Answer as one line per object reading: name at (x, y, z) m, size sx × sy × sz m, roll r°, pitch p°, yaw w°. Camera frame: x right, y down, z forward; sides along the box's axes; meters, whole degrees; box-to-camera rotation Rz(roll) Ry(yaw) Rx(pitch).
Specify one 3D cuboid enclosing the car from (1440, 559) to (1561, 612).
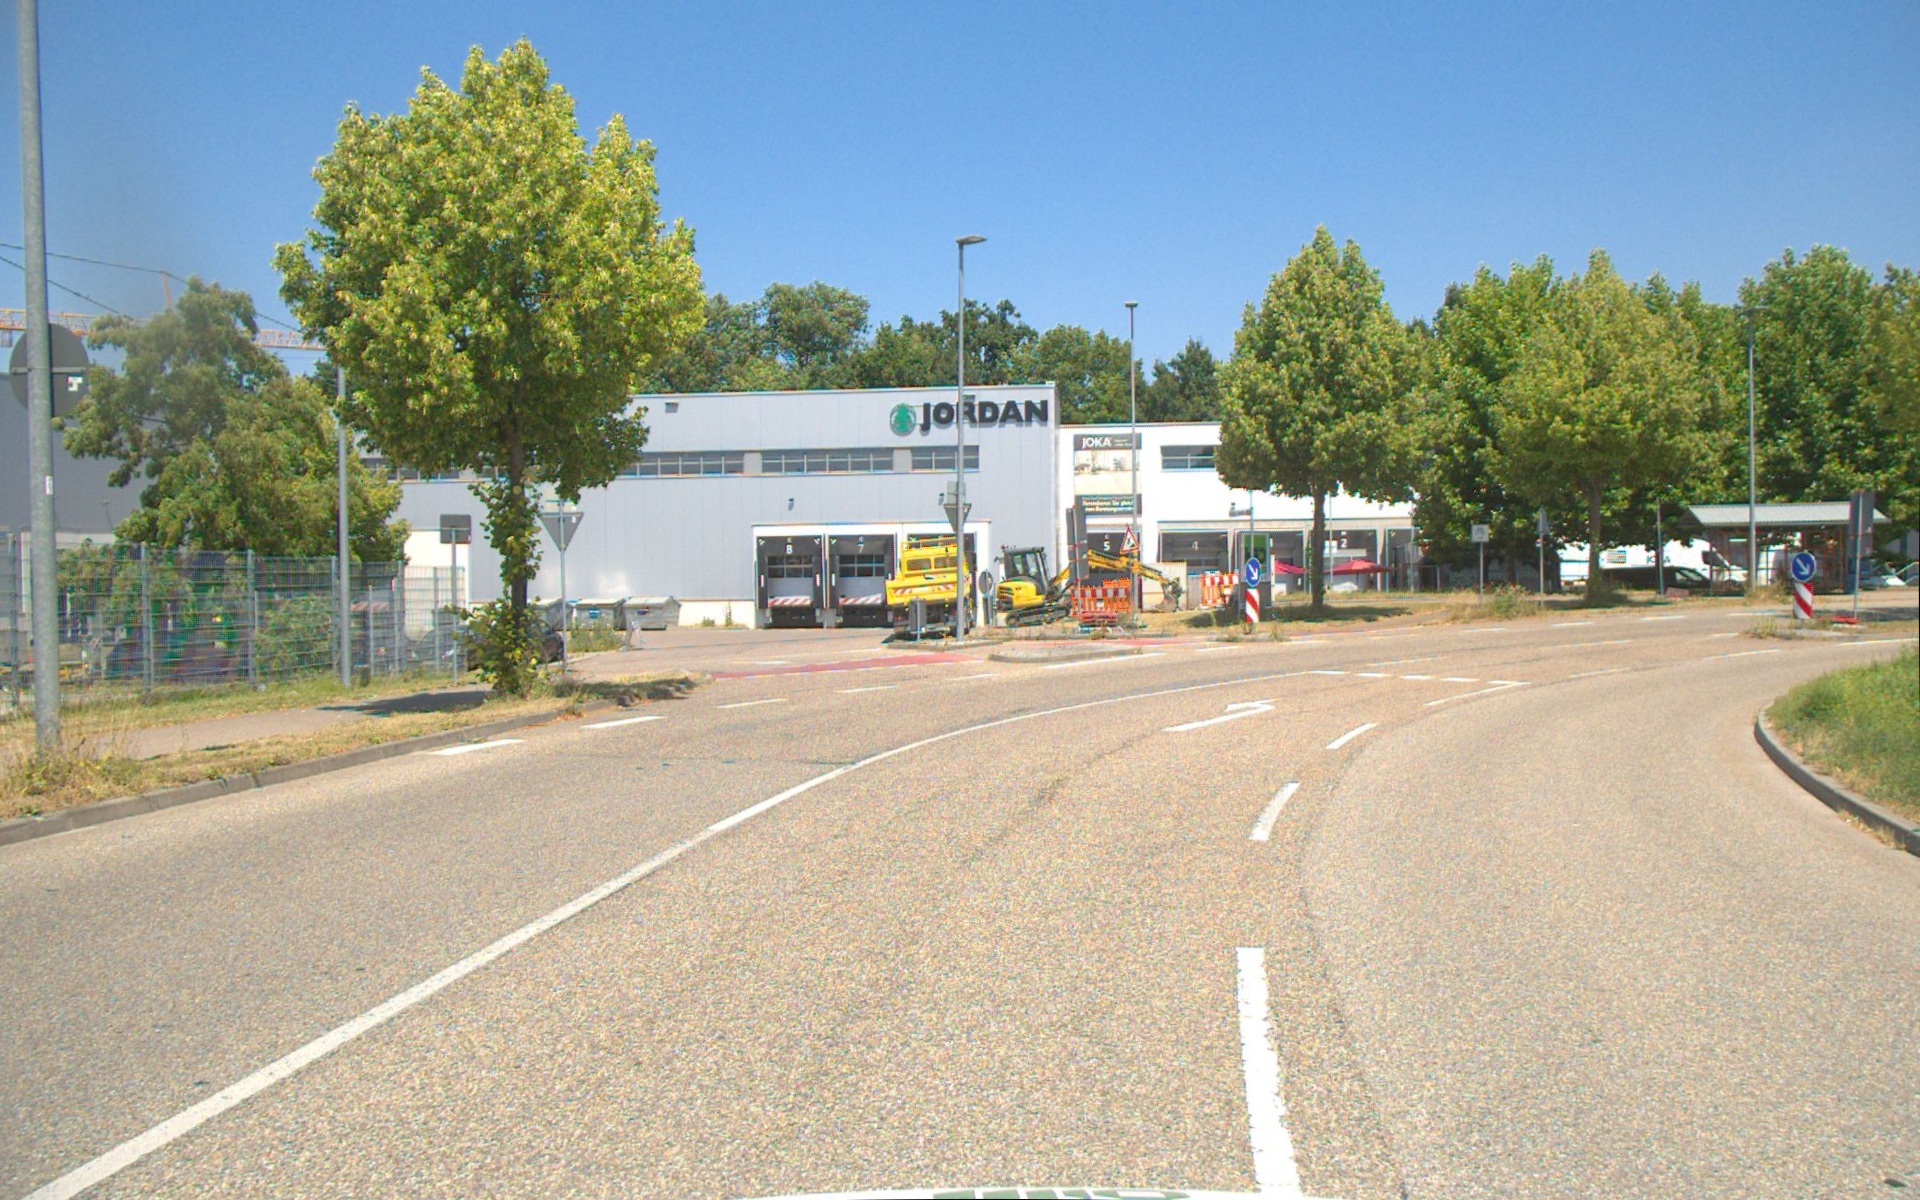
car at (19.790, -0.527, 60.725) m, size 3.902 × 1.758 × 1.842 m, roll -2°, pitch 0°, yaw 8°

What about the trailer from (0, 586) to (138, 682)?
trailer at (-30.711, 1.144, 54.865) m, size 5.387 × 2.906 × 2.666 m, roll -3°, pitch 2°, yaw 2°

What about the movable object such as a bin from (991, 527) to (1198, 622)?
movable object such as a bin at (4.403, -0.790, 53.847) m, size 6.416 × 2.626 × 2.002 m, roll -4°, pitch -1°, yaw 11°

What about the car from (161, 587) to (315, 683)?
car at (-23.403, 1.056, 53.910) m, size 1.951 × 2.780 × 5.803 m, roll -2°, pitch 2°, yaw 5°

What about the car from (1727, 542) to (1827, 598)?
car at (31.749, -1.143, 64.378) m, size 1.513 × 2.049 × 4.261 m, roll 1°, pitch 0°, yaw -4°

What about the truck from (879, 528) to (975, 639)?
truck at (-0.971, -0.629, 53.781) m, size 2.534 × 3.189 × 6.428 m, roll -4°, pitch 3°, yaw 2°

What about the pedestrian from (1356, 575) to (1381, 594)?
pedestrian at (15.523, -0.593, 62.876) m, size 0.847 × 0.707 × 0.407 m, roll -2°, pitch 0°, yaw 30°

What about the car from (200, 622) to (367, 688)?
car at (-18.121, 1.485, 44.267) m, size 4.500 × 1.663 × 1.865 m, roll -2°, pitch -2°, yaw 32°
